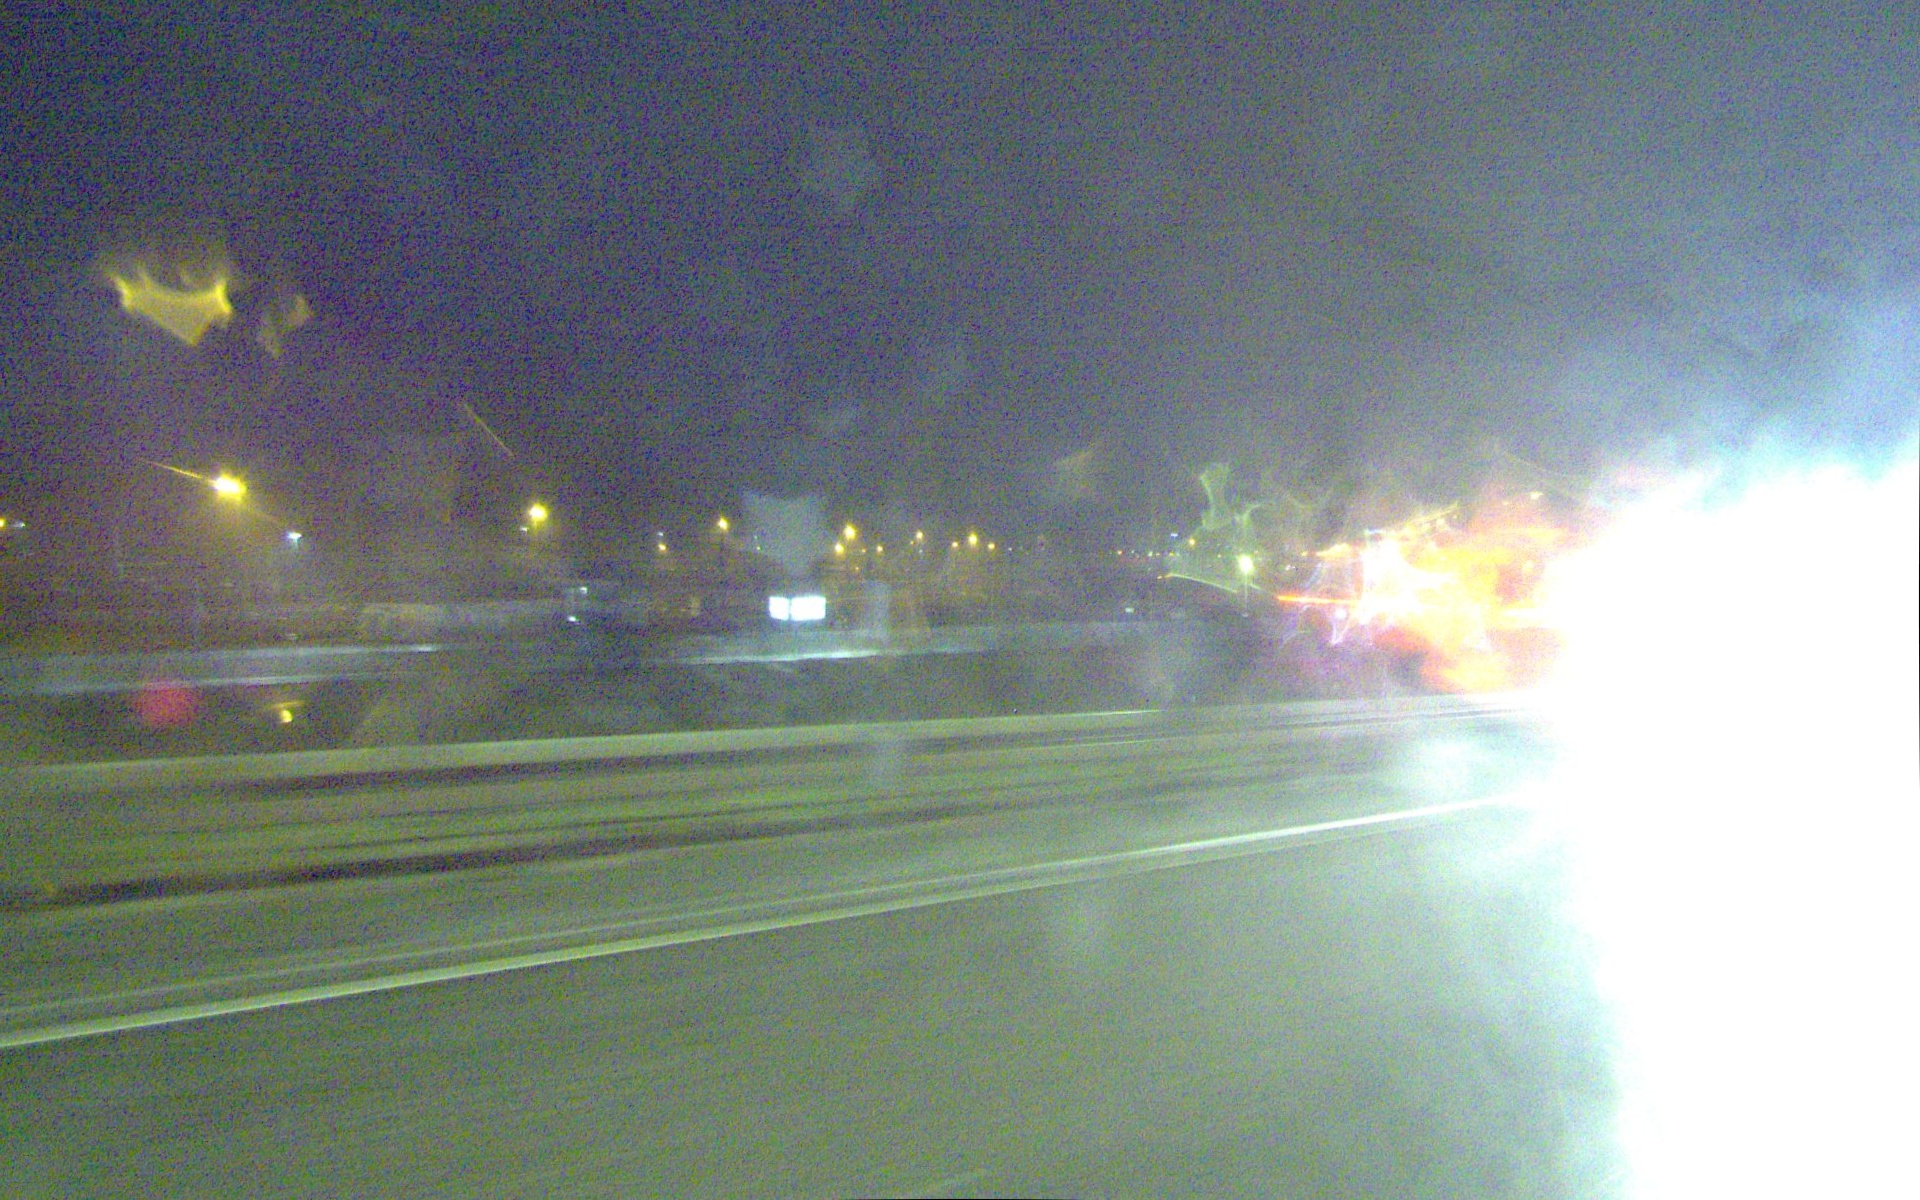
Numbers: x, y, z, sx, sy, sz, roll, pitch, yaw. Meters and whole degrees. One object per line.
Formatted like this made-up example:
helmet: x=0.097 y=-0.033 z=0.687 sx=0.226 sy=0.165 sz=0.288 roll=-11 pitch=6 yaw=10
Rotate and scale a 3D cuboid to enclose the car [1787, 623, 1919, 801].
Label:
car: x=9.497 y=0.976 z=9.465 sx=3.780 sy=1.451 sz=1.654 roll=1 pitch=0 yaw=-35
